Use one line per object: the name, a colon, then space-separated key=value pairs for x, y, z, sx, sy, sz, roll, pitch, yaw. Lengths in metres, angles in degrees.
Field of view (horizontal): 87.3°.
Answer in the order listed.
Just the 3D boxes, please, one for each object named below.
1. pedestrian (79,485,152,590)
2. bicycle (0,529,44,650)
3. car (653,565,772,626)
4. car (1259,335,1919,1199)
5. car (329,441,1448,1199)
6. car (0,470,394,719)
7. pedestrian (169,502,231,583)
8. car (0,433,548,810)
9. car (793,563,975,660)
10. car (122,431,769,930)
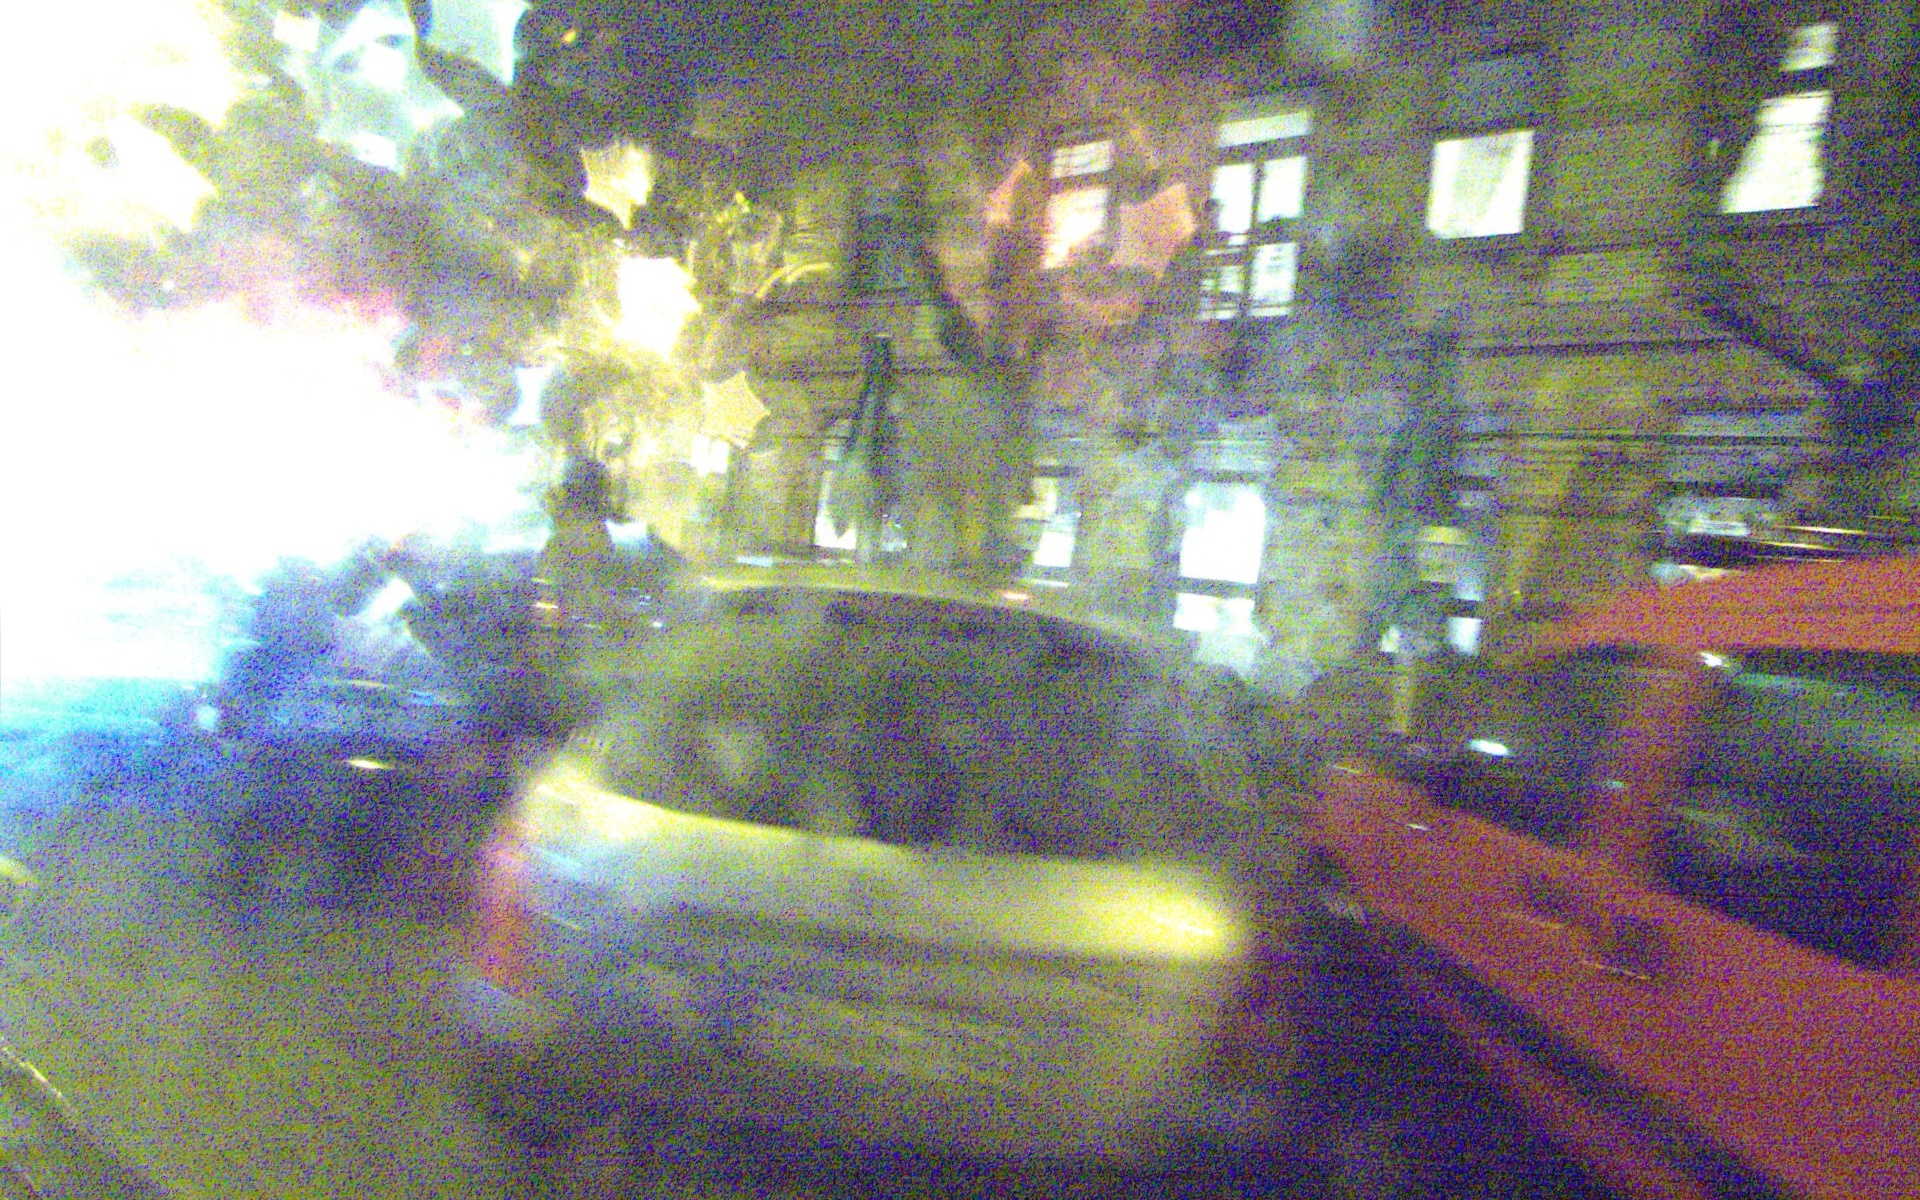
pedestrian: x=-15.440 y=-1.134 z=18.400 sx=0.592 sy=1.792 sz=0.824 roll=7 pitch=0 yaw=44
bicycle: x=-9.195 y=-0.171 z=8.874 sx=1.620 sy=1.040 sz=0.335 roll=6 pitch=2 yaw=-15
car: x=-8.519 y=-0.161 z=34.581 sx=3.632 sy=1.596 sz=1.755 roll=6 pitch=-2 yaw=31
car: x=2.301 y=0.653 z=2.444 sx=1.690 sy=2.055 sz=3.736 roll=6 pitch=1 yaw=-3
car: x=-0.025 y=0.602 z=3.742 sx=1.799 sy=1.619 sz=4.071 roll=6 pitch=1 yaw=4
car: x=-6.856 y=-0.138 z=8.228 sx=1.738 sy=1.594 sz=4.261 roll=6 pitch=1 yaw=4
pedestrian: x=-18.788 y=-1.410 z=24.893 sx=0.867 sy=1.856 sz=0.979 roll=6 pitch=0 yaw=-22
car: x=-4.425 y=0.050 z=6.791 sx=1.739 sy=1.735 sz=3.736 roll=6 pitch=1 yaw=-2
car: x=-2.106 y=0.215 z=25.860 sx=1.982 sy=1.912 sz=5.496 roll=7 pitch=-1 yaw=-35
car: x=-2.306 y=0.281 z=5.701 sx=1.716 sy=1.735 sz=3.789 roll=6 pitch=1 yaw=-2
